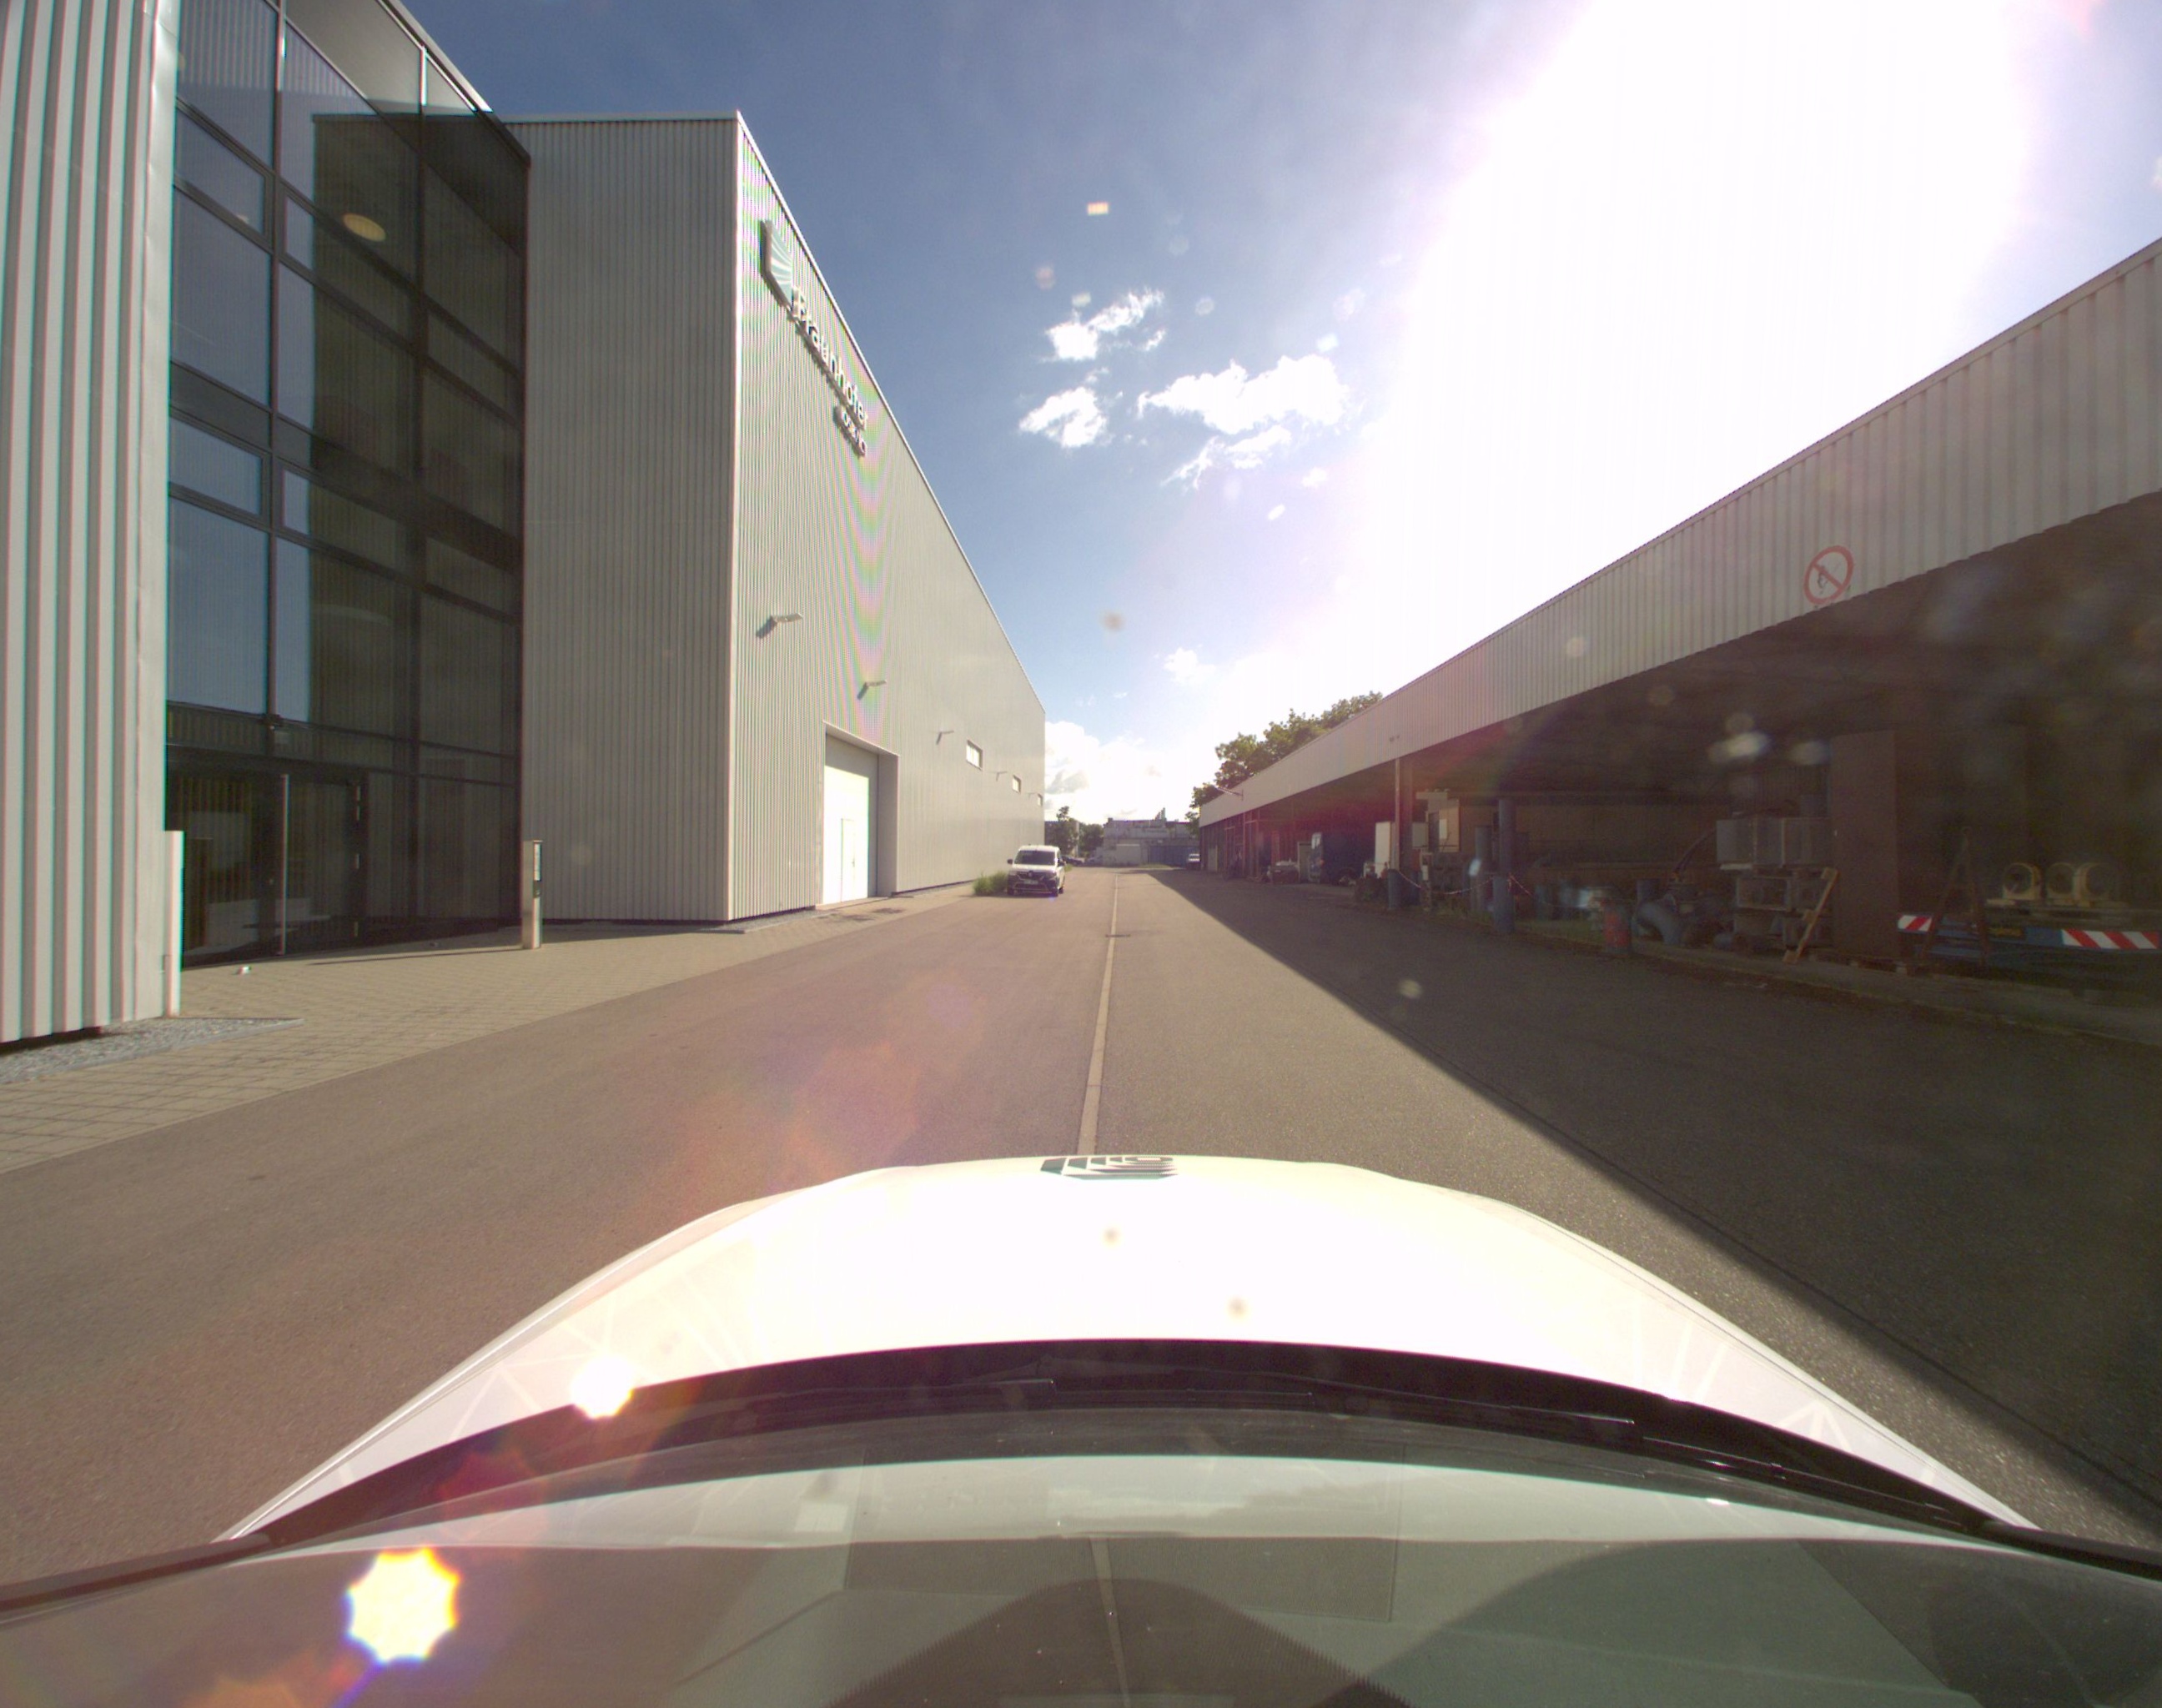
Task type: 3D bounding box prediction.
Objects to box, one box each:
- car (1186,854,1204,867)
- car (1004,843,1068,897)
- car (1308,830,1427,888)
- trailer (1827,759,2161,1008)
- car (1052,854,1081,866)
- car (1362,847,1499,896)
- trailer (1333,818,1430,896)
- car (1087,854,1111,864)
[{"bbox_3d":[13.862,0.785,99.108,1.953,1.564,4.064,1,0,5],"label":"car"},{"bbox_3d":[-1.554,0.532,29.772,1.811,1.787,4.409,2,0,3],"label":"car"},{"bbox_3d":[12.092,0.229,34.619,4.414,2.310,1.917,2,-2,3],"label":"car"},{"bbox_3d":[10.841,0.220,7.585,5.741,2.032,2.080,0,0,3],"label":"trailer"},{"bbox_3d":[-1.982,0.846,112.108,3.972,1.598,1.742,2,-2,1],"label":"car"},{"bbox_3d":[11.969,0.607,28.092,4.021,1.525,1.685,2,-2,3],"label":"car"},{"bbox_3d":[9.513,0.110,25.915,2.513,2.399,1.728,0,-1,3],"label":"trailer"},{"bbox_3d":[3.137,0.820,139.841,3.972,1.598,1.848,2,-2,1],"label":"car"}]
